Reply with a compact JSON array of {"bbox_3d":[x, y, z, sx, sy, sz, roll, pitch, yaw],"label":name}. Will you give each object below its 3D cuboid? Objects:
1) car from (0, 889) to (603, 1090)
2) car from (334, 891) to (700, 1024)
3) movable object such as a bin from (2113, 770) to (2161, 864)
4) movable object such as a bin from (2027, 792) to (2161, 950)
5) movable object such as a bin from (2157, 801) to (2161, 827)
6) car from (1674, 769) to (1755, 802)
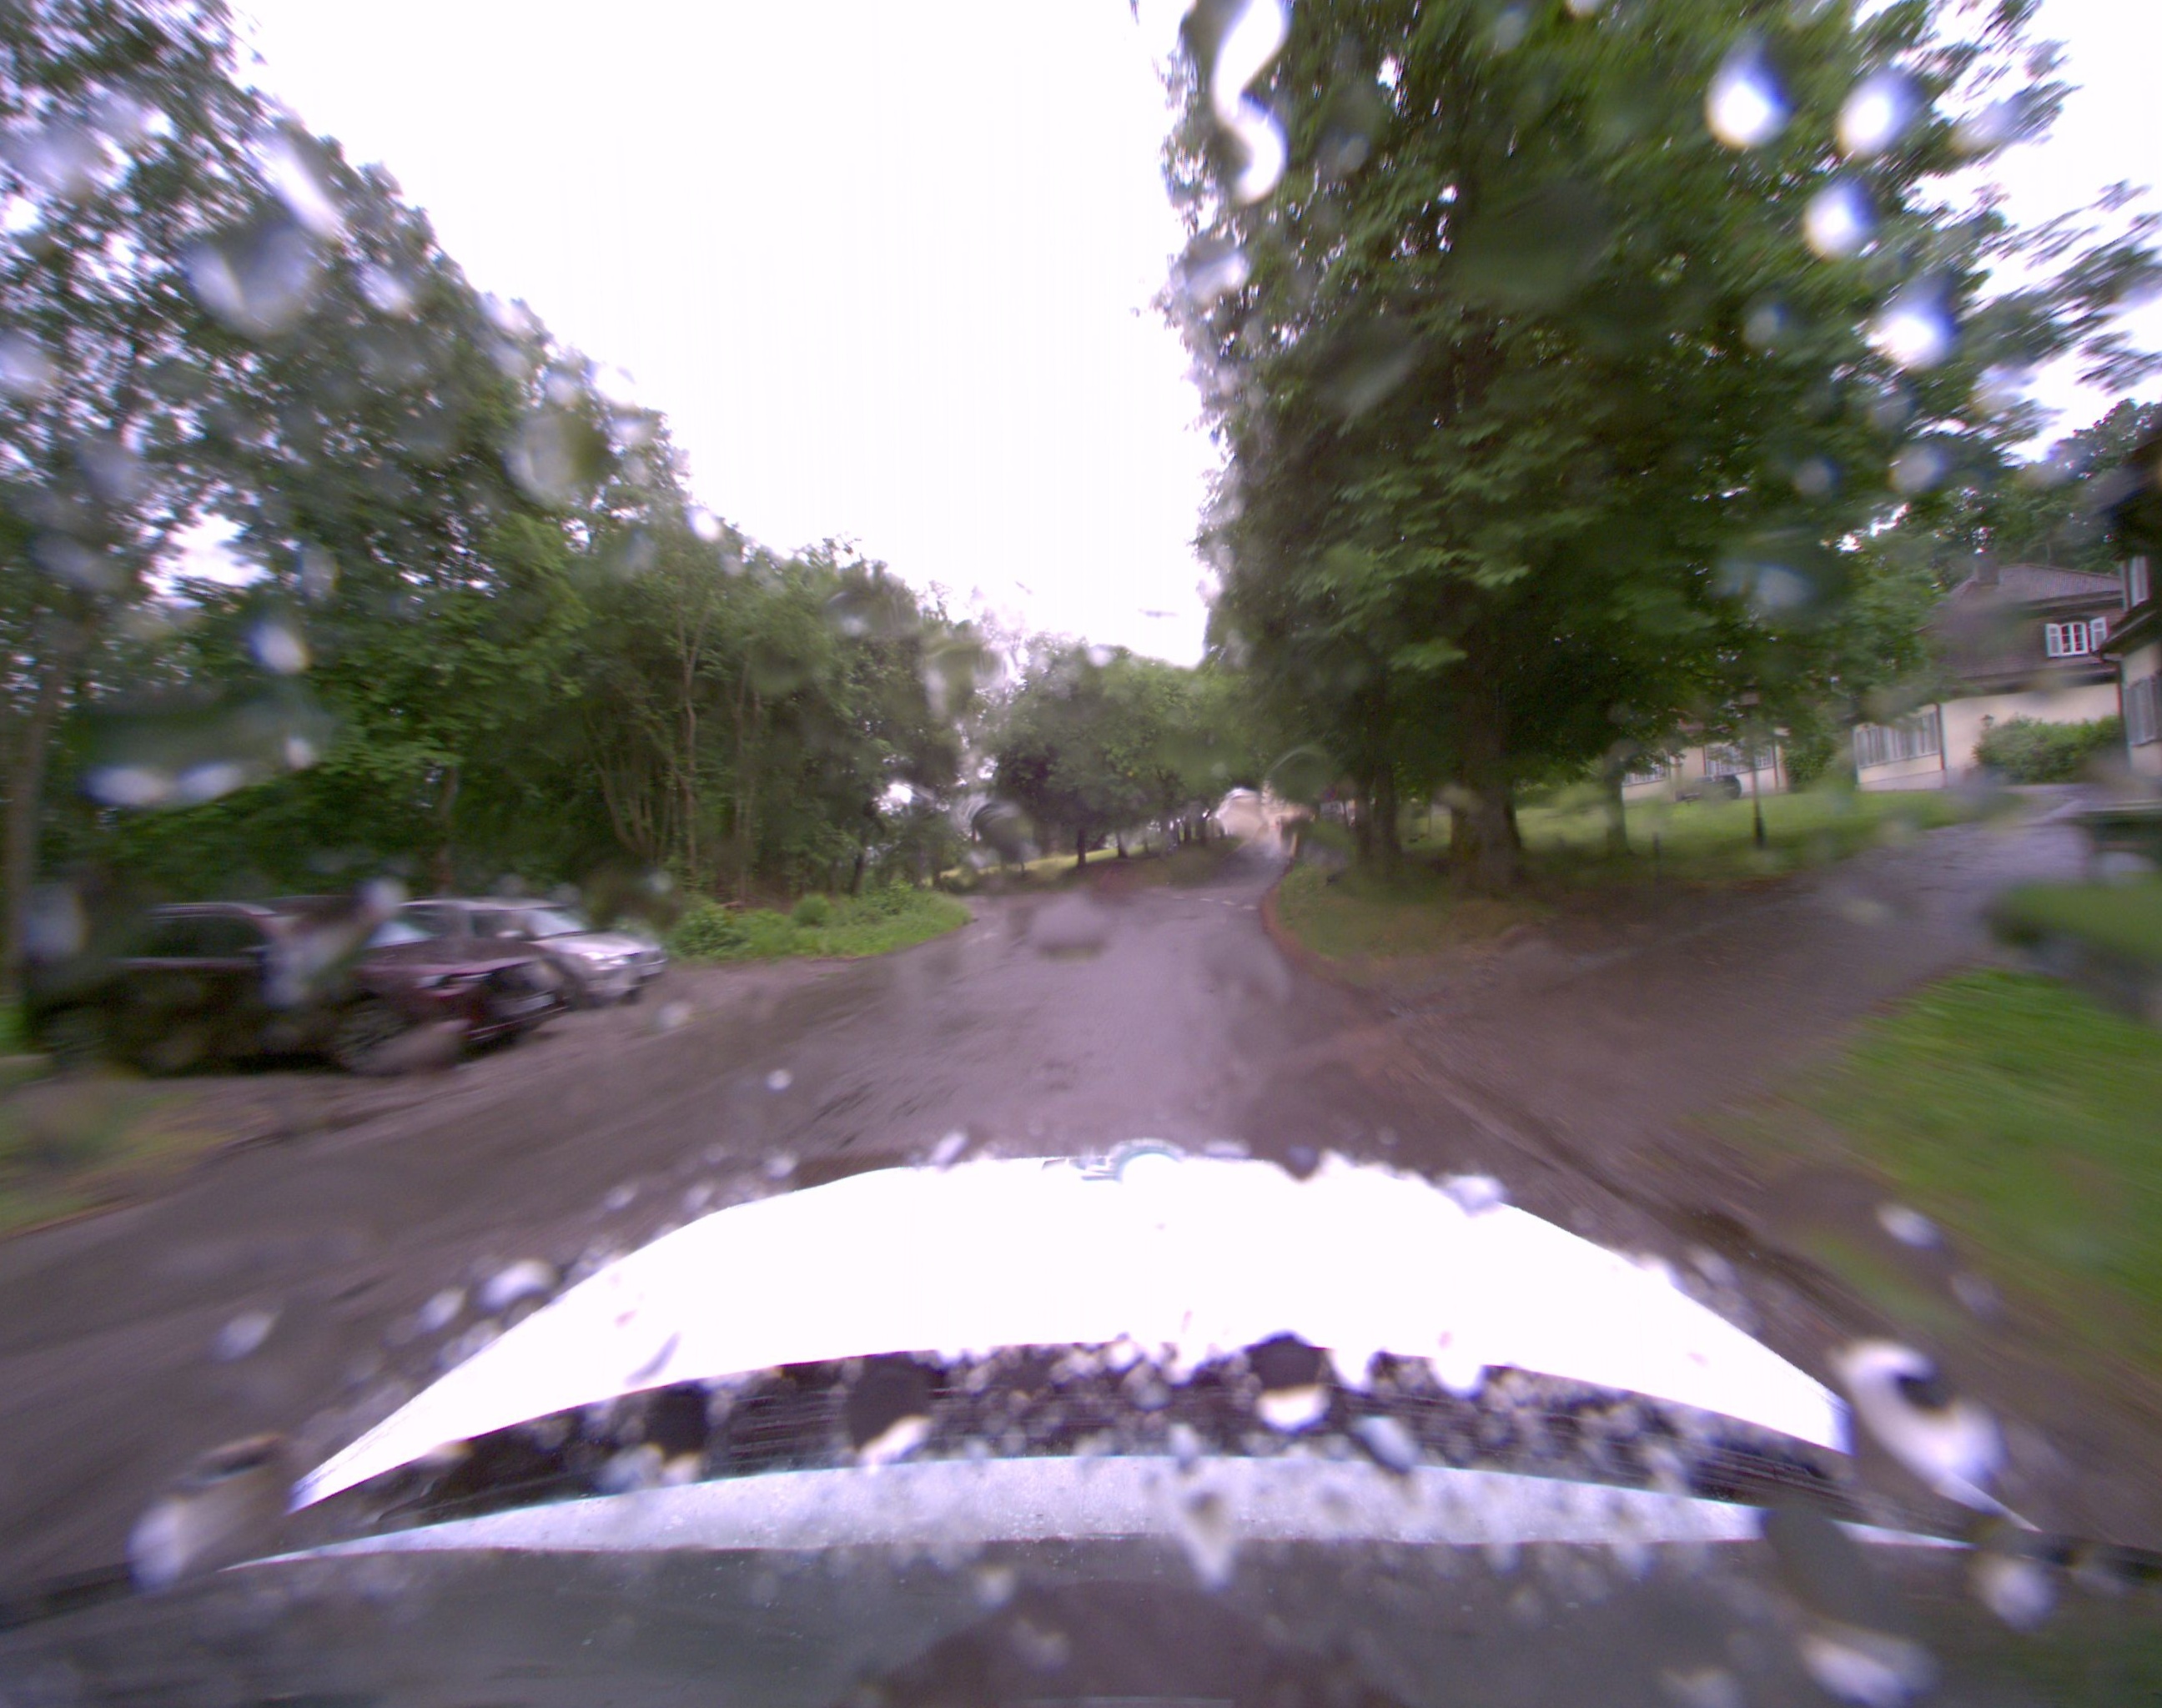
[{"bbox_3d":[-8.042,1.351,8.674,4.801,1.677,1.879,-3,0,5],"label":"car"},{"bbox_3d":[-7.989,1.437,11.748,4.114,1.554,1.777,-3,0,7],"label":"car"},{"bbox_3d":[11.051,-0.392,8.166,0.547,0.906,0.536,-11,-2,15],"label":"movable object such as a bin"},{"bbox_3d":[7.906,0.110,6.097,0.690,1.039,0.663,-11,-2,15],"label":"movable object such as a bin"},{"bbox_3d":[7.935,0.087,5.367,0.690,1.039,0.578,-11,-2,15],"label":"movable object such as a bin"},{"bbox_3d":[40.881,-4.403,52.712,1.983,1.507,4.518,-8,0,8],"label":"car"}]
